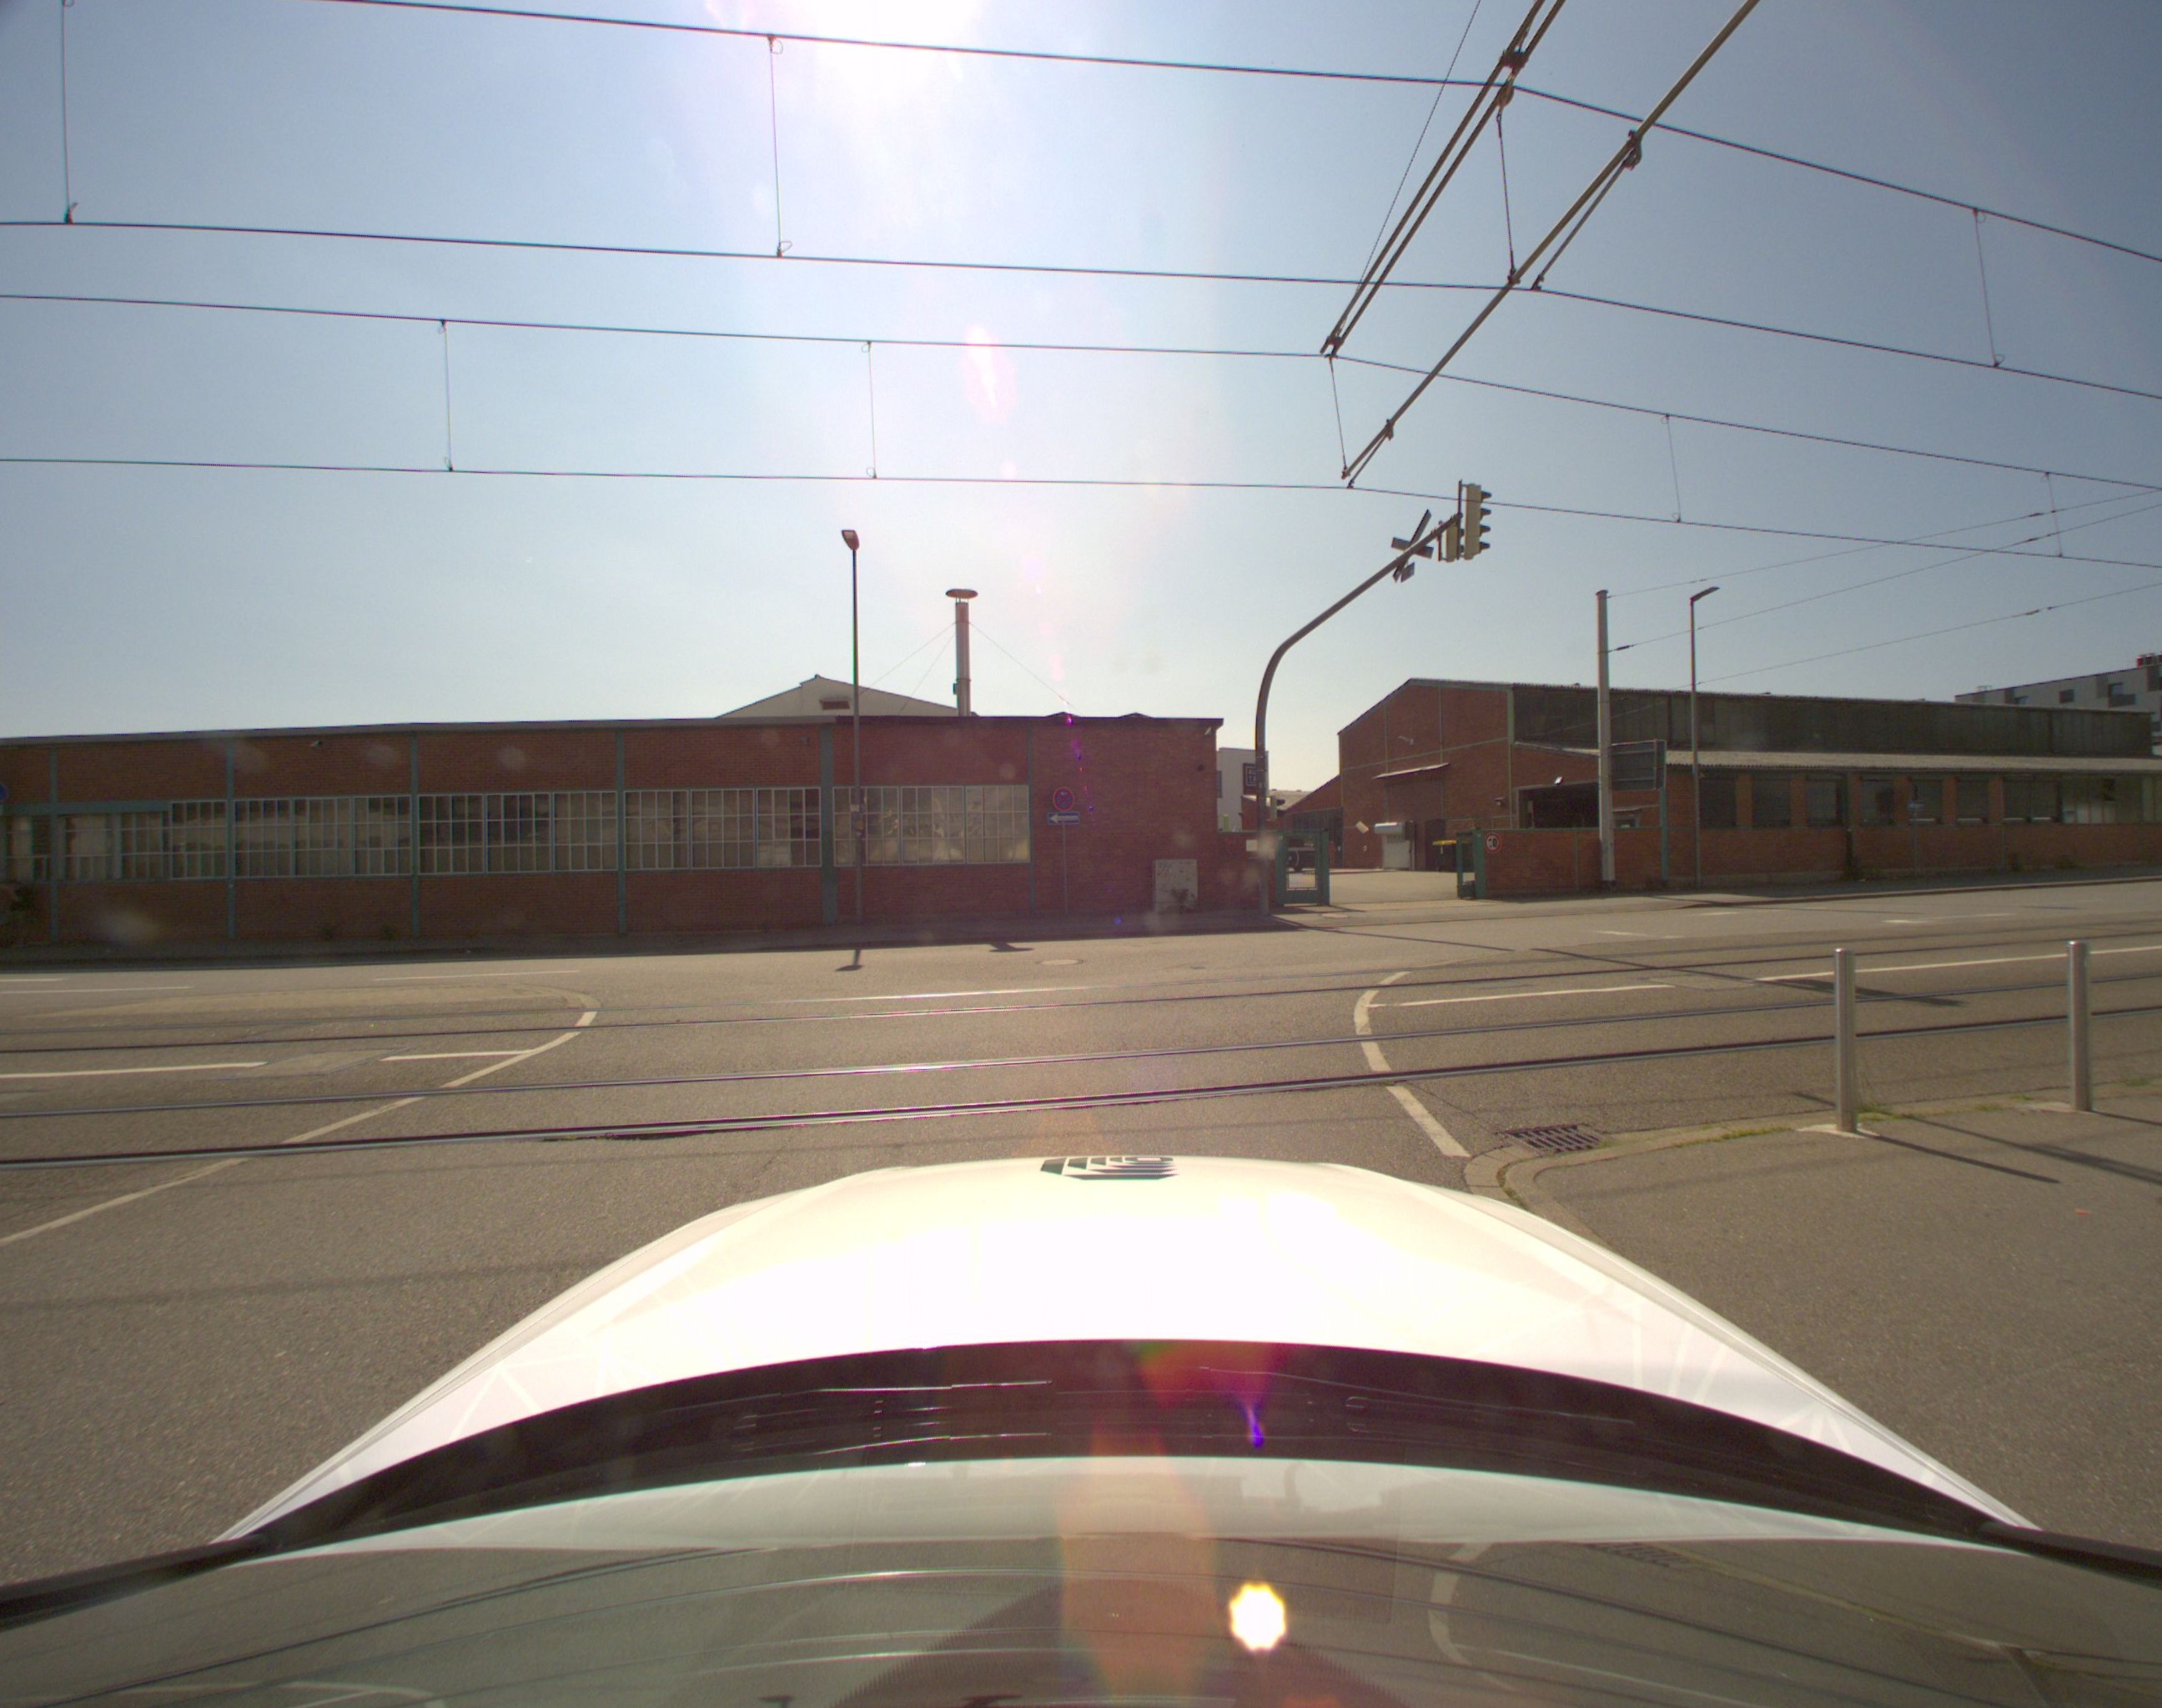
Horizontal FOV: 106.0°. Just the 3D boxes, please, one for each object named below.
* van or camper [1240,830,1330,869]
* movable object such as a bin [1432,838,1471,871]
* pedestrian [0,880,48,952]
[{"bbox_3d":[10.558,-0.205,42.073,4.437,1.900,1.980,1,-1,-33],"label":"van or camper"},{"bbox_3d":[15.610,0.031,34.303,0.975,1.314,1.147,-2,0,-13],"label":"movable object such as a bin"},{"bbox_3d":[-26.752,1.538,20.539,0.444,1.765,0.688,0,-1,13],"label":"pedestrian"}]
